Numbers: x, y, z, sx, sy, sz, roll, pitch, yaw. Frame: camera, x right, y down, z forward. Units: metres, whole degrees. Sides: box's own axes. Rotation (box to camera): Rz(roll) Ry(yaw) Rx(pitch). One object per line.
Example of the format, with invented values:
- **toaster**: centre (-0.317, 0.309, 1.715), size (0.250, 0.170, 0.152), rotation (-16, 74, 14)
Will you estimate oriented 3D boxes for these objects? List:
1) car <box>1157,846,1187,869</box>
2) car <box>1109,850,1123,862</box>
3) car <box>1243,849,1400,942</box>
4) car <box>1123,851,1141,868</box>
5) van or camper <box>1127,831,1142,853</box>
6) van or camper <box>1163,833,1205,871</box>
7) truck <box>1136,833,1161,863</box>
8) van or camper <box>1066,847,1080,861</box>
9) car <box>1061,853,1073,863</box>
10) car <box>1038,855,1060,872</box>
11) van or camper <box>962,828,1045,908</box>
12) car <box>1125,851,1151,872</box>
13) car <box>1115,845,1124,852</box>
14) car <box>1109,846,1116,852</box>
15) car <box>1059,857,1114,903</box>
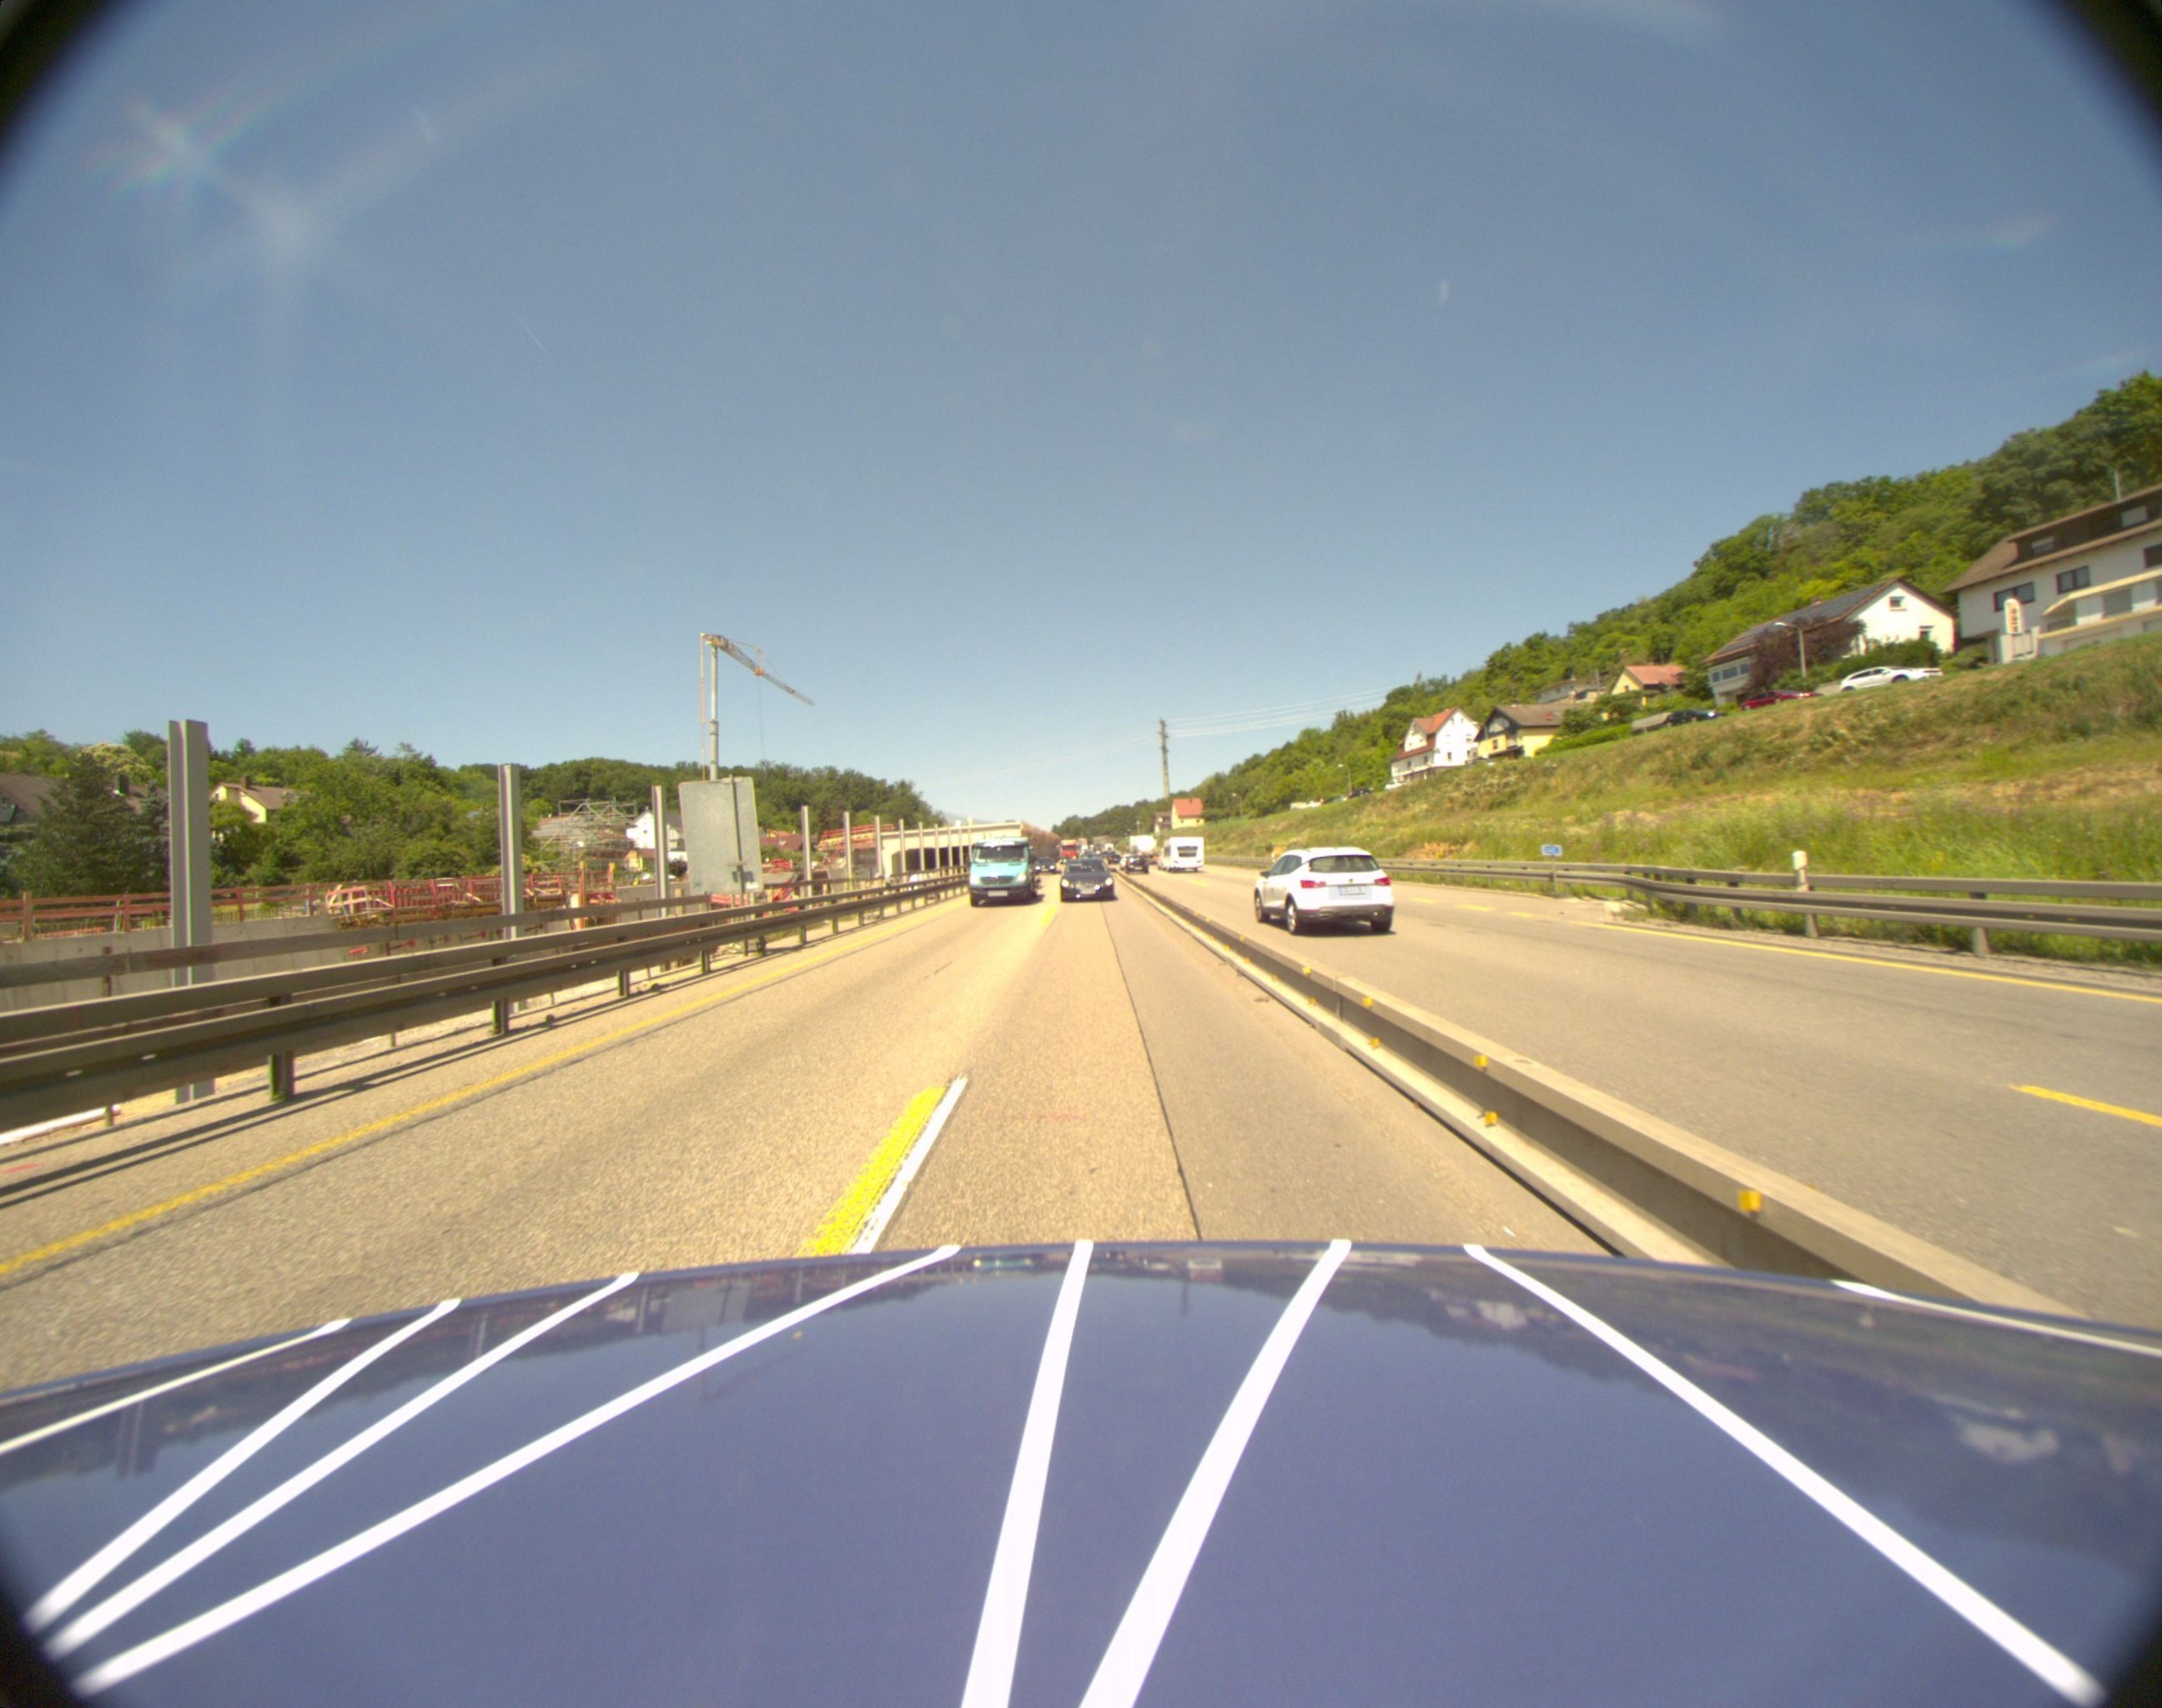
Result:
- **car**: centre (7.648, 0.288, 64.102), size (1.998, 1.809, 3.665), rotation (-4, 0, 1)
- **car**: centre (4.641, 0.288, 101.049), size (1.601, 1.499, 3.161), rotation (-4, 0, 1)
- **car**: centre (4.470, 0.676, 14.871), size (1.677, 1.468, 4.540), rotation (-2, 0, 1)
- **car**: centre (4.483, 0.443, 67.653), size (1.369, 1.420, 3.175), rotation (-2, 0, 1)
- **van or camper**: centre (7.334, -1.616, 103.616), size (1.566, 2.745, 5.181), rotation (-4, 0, 1)
- **van or camper**: centre (7.658, -0.168, 57.234), size (2.382, 2.634, 6.051), rotation (-2, 0, 1)
- **truck**: centre (8.214, -0.764, 93.243), size (2.385, 3.412, 9.305), rotation (-1, 0, 1)
- **van or camper**: centre (-1.476, -0.011, 138.340), size (2.321, 2.513, 4.527), rotation (-4, 0, 1)
- **car**: centre (-2.177, 0.651, 121.052), size (1.679, 1.346, 3.486), rotation (-4, 0, 1)
- **car**: centre (-2.705, 0.756, 63.983), size (1.611, 1.324, 3.496), rotation (-3, 0, 1)
- **van or camper**: centre (-2.622, 0.426, 27.781), size (2.097, 2.458, 7.671), rotation (-2, 0, 1)
- **car**: centre (4.131, 0.501, 55.695), size (1.660, 1.420, 3.175), rotation (-2, 0, 1)
- **car**: centre (9.184, -1.408, 182.041), size (1.780, 1.652, 3.575), rotation (-2, 1, 0)
- **car**: centre (9.656, -1.517, 233.472), size (1.780, 1.740, 3.708), rotation (-2, 1, 1)
- **car**: centre (0.200, 0.852, 26.622), size (1.746, 1.420, 4.000), rotation (-2, 0, 1)
